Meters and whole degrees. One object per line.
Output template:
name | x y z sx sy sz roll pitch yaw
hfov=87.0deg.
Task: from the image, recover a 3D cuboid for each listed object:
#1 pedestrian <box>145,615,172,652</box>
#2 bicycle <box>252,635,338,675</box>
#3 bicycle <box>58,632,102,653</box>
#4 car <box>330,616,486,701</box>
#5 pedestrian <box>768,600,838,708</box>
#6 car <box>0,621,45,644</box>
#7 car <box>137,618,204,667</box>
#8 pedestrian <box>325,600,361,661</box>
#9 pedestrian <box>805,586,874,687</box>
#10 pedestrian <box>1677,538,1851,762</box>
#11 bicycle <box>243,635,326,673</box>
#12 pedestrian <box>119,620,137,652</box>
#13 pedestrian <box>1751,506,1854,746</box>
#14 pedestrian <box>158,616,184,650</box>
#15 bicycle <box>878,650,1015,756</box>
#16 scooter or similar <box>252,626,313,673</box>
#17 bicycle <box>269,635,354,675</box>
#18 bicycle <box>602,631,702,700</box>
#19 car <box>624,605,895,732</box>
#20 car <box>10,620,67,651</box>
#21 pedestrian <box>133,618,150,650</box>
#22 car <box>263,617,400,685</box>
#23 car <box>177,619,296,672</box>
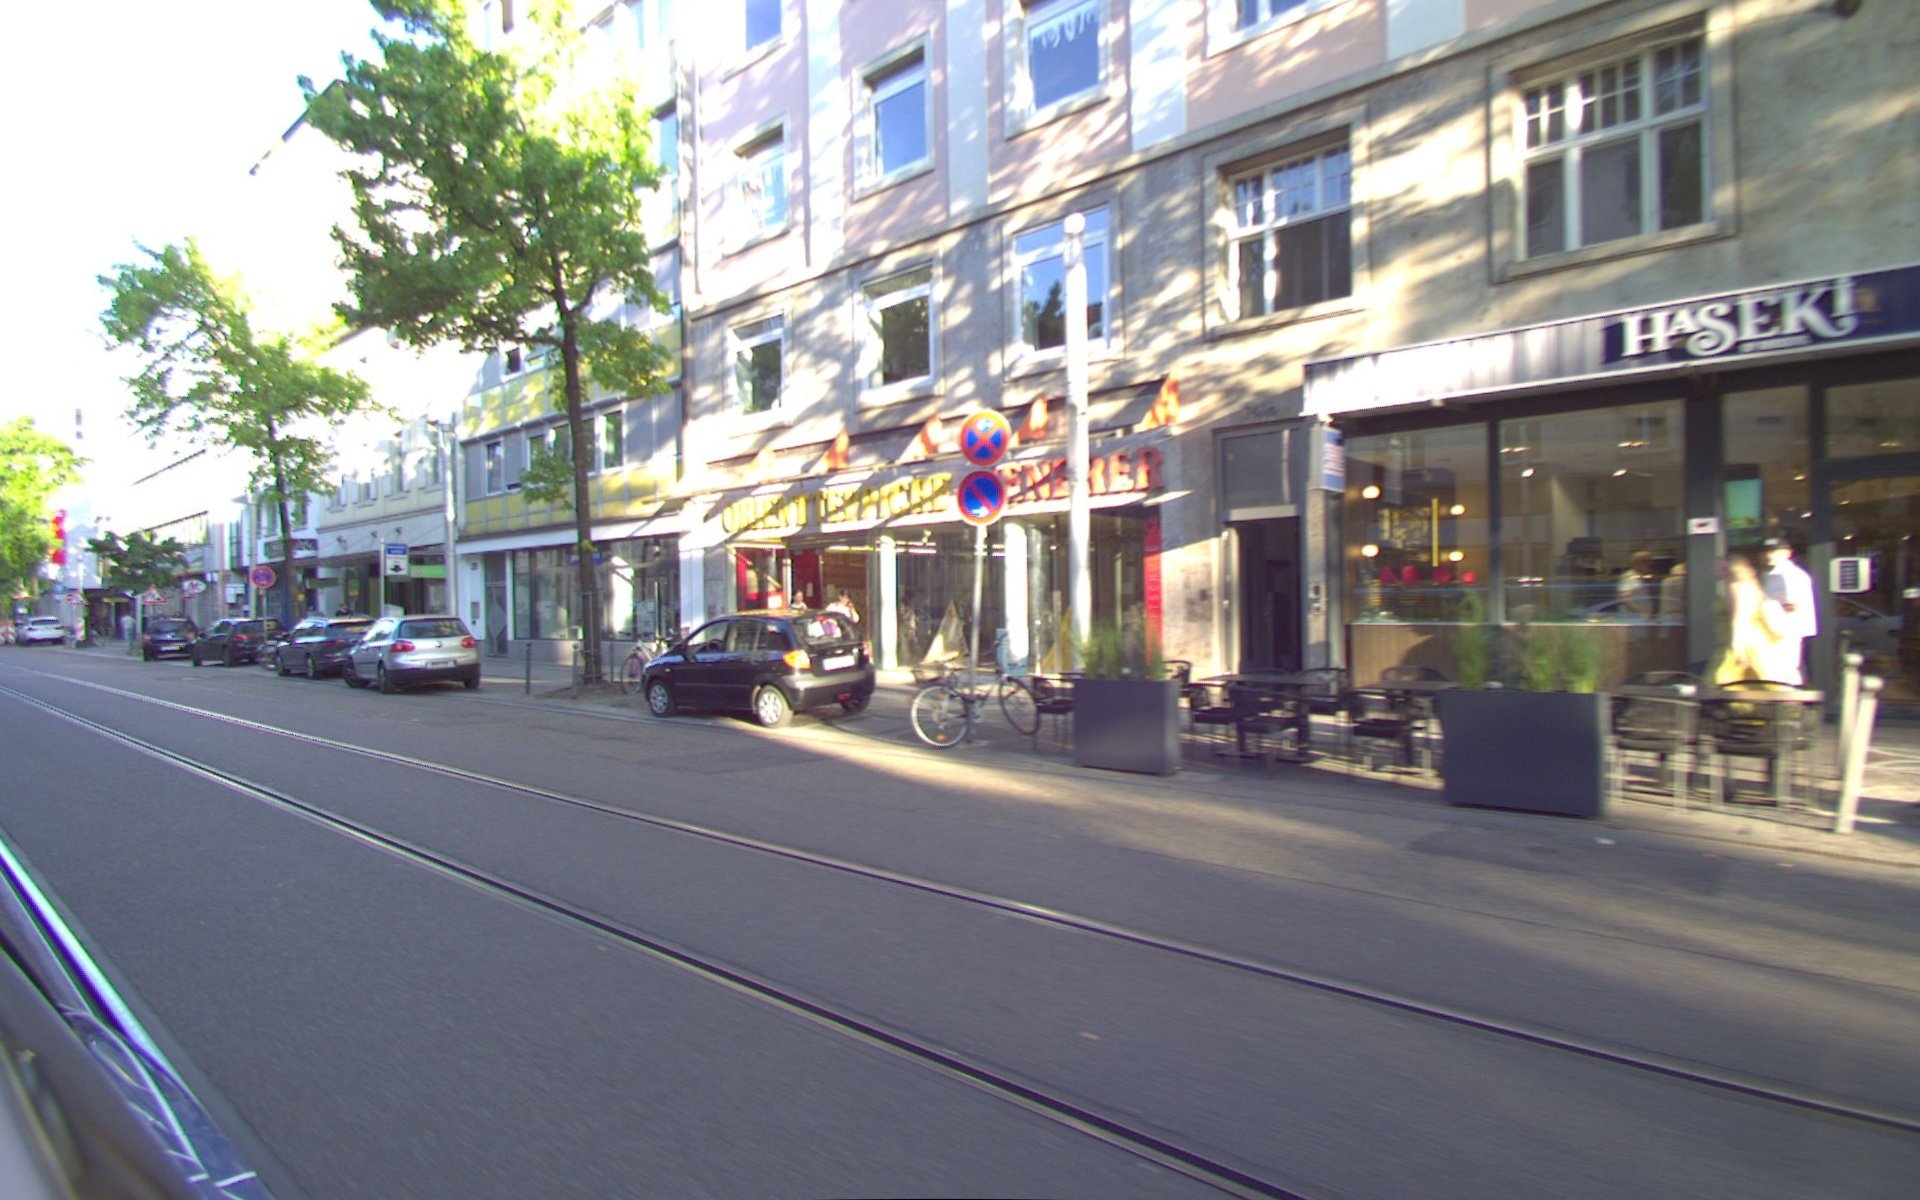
pedestrian | -38.700 1.623 48.869 0.831 1.780 0.842 -2 -1 39
bicycle | -18.322 1.515 27.928 0.331 1.009 1.949 -2 -1 44
bicycle | -47.572 2.283 54.712 1.724 0.999 0.479 -5 2 -41
car | -11.309 1.099 20.607 1.746 1.508 4.178 -1 0 -44
pedestrian | -2.567 0.866 16.563 0.740 1.706 0.835 -2 -1 41
car | -75.638 2.610 80.817 1.775 1.572 3.380 -1 2 19
car | -29.147 1.523 37.449 1.608 1.628 3.718 -3 0 -34
pedestrian | -19.099 0.942 31.327 0.878 1.839 0.653 -2 2 42
pedestrian | -2.107 0.627 17.731 0.913 1.706 0.781 -2 -1 41
pedestrian | 6.847 0.405 8.637 1.089 1.774 0.714 -2 -1 42
bicycle | -19.465 1.532 29.191 0.331 1.009 1.949 -2 -1 44
pedestrian | -45.316 1.952 55.133 0.634 1.725 0.830 -2 0 -45
pedestrian | 7.527 0.224 9.046 0.642 2.029 0.714 -2 -1 41
pedestrian | -40.548 1.684 51.996 1.037 1.708 0.824 -2 1 42
bicycle | -0.126 1.089 11.094 1.597 0.972 0.433 -3 1 -43
scooter or similar | -19.987 1.452 29.875 1.403 1.280 0.375 -3 1 -45
bicycle | -17.837 1.505 27.894 0.330 1.009 1.949 -2 -1 43
bicycle | -5.338 1.114 17.658 0.439 1.073 1.795 -2 0 33
car | -2.869 0.868 14.048 3.825 1.439 1.649 -2 2 41
car | -56.326 2.166 61.834 4.742 1.767 1.973 -2 1 41
pedestrian | -46.054 1.913 56.960 0.620 1.725 0.808 -2 0 -45
car | -15.711 1.222 25.199 4.485 1.472 1.693 -2 1 42
car | -22.929 1.414 32.025 4.233 1.501 1.776 -1 1 36
